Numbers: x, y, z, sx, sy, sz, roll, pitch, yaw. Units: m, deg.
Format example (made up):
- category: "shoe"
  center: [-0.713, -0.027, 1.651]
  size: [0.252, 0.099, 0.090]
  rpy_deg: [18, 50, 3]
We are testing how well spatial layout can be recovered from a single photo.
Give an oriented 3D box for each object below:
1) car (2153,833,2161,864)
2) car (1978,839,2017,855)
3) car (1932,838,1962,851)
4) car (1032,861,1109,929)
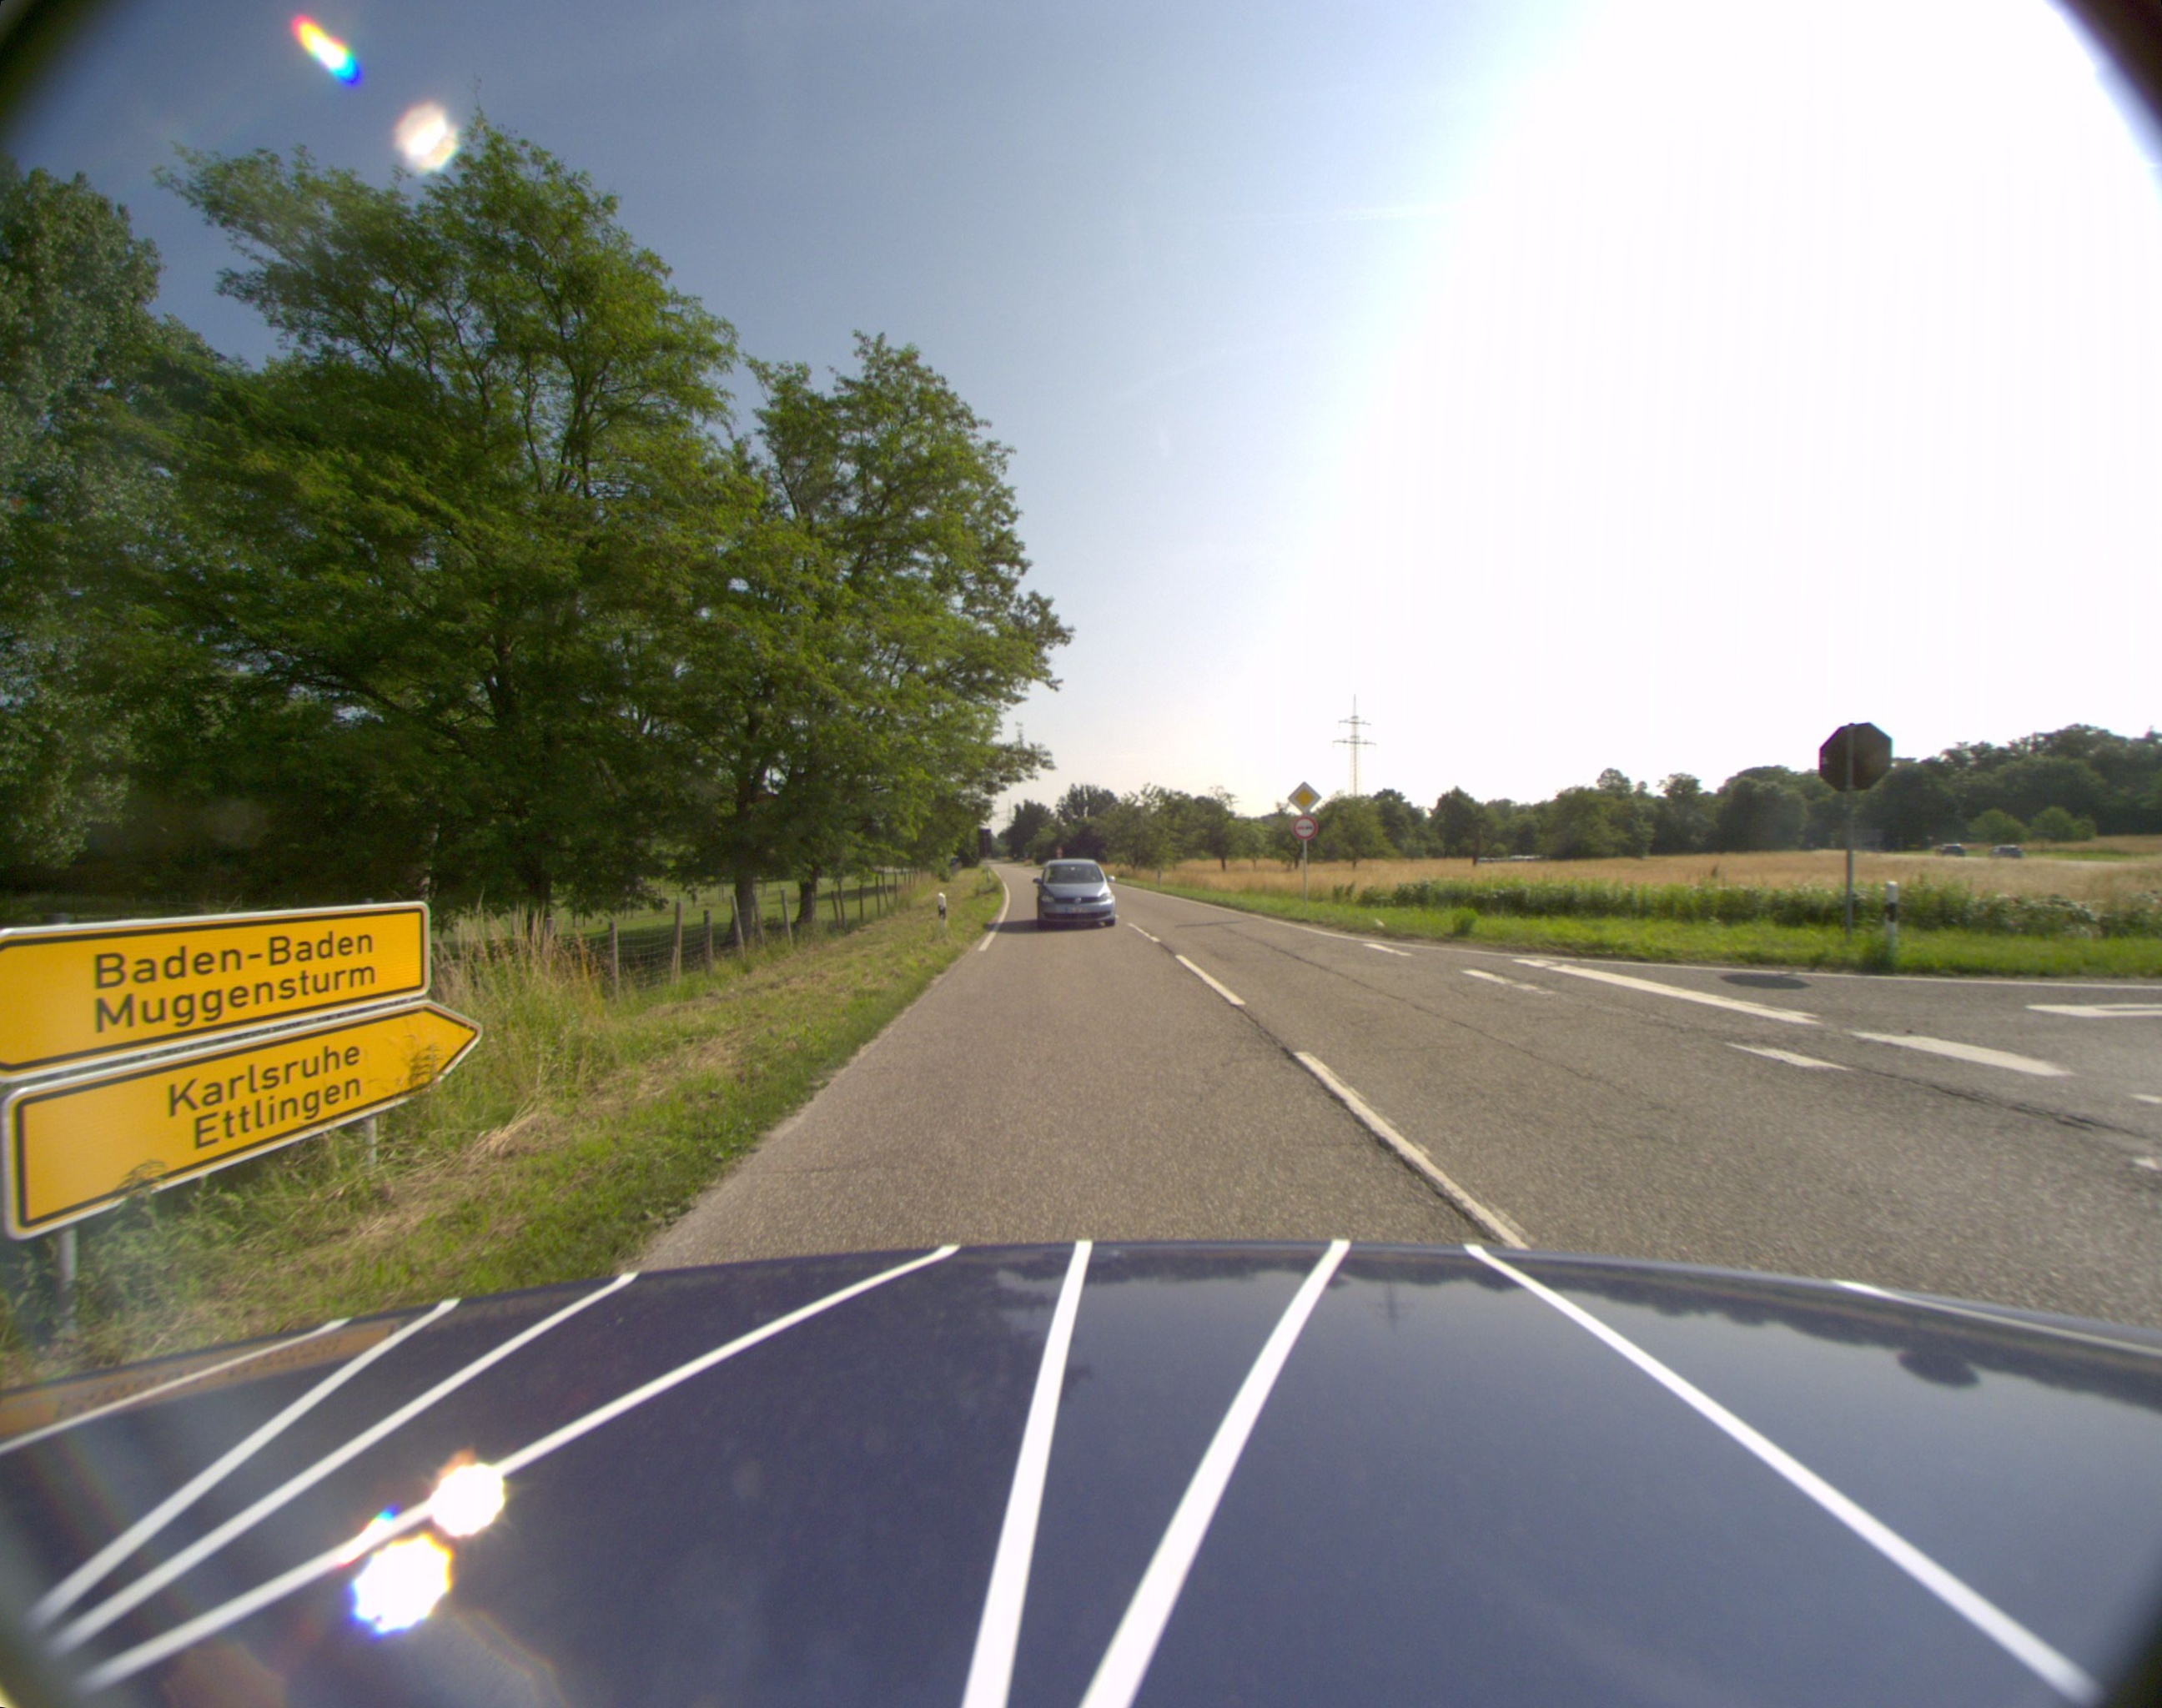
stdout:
- category: "car"
  center: [54.173, -0.270, 36.650]
  size: [1.813, 1.543, 4.008]
  rpy_deg: [-2, 0, 39]
- category: "car"
  center: [93.291, -0.730, 77.409]
  size: [1.813, 1.543, 4.008]
  rpy_deg: [-2, 0, 40]
- category: "car"
  center: [109.154, -1.162, 95.806]
  size: [1.813, 1.543, 4.008]
  rpy_deg: [-2, 0, 40]
- category: "car"
  center: [-0.212, 0.969, 19.769]
  size: [1.718, 1.495, 4.094]
  rpy_deg: [-2, 0, 1]
